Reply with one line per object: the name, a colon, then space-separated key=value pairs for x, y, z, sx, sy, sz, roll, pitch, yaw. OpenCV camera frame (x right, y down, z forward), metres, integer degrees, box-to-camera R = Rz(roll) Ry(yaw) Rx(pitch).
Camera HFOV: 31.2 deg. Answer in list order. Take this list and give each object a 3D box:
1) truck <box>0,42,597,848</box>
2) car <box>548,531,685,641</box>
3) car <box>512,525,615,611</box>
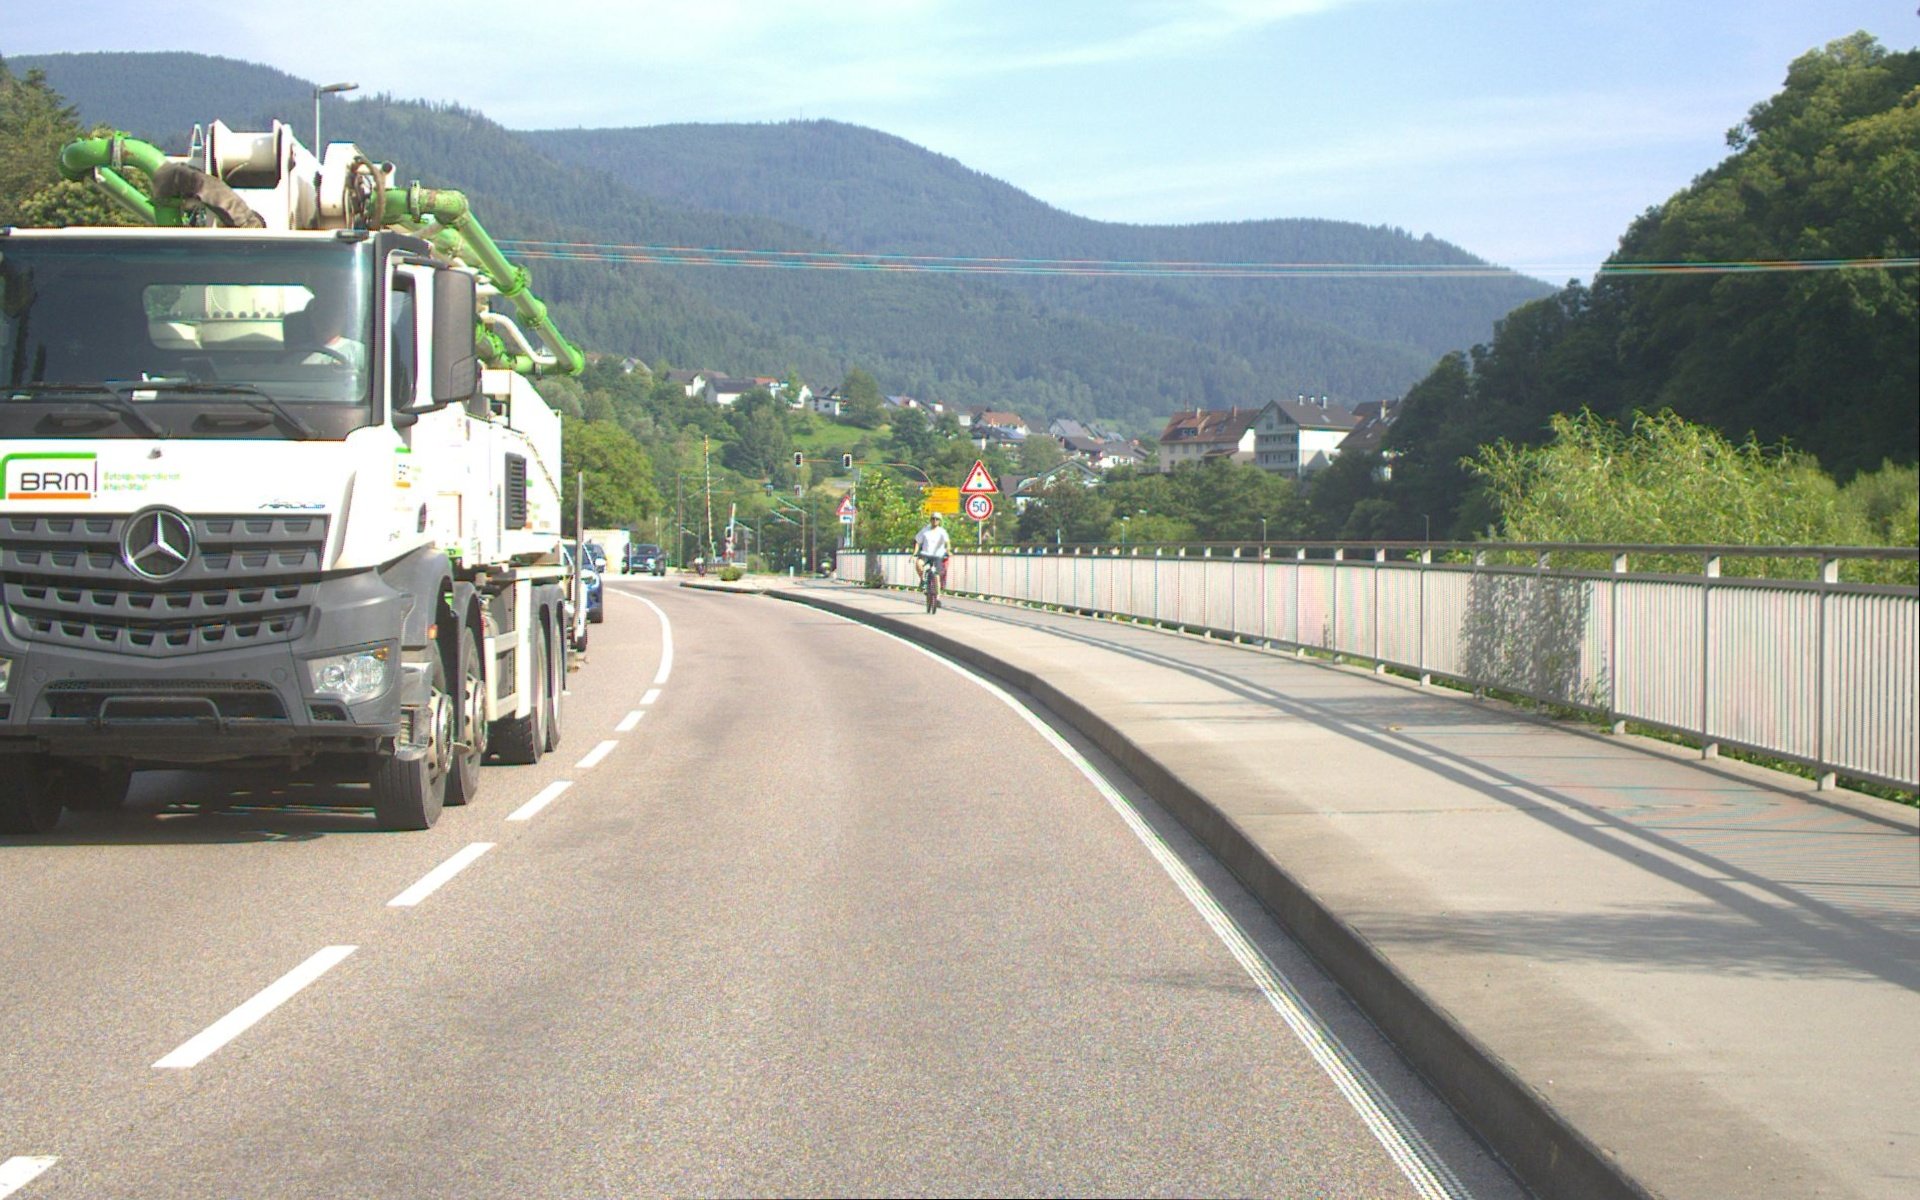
truck: x=-4.081 y=-0.836 z=22.399 sx=2.578 sy=3.918 sz=11.307 roll=0 pitch=1 yaw=-2
car: x=-4.952 y=-0.241 z=50.014 sx=1.749 sy=1.499 sz=4.191 roll=-1 pitch=1 yaw=-3
car: x=-7.515 y=-0.626 z=65.416 sx=1.744 sy=1.521 sz=4.001 roll=2 pitch=1 yaw=-4
